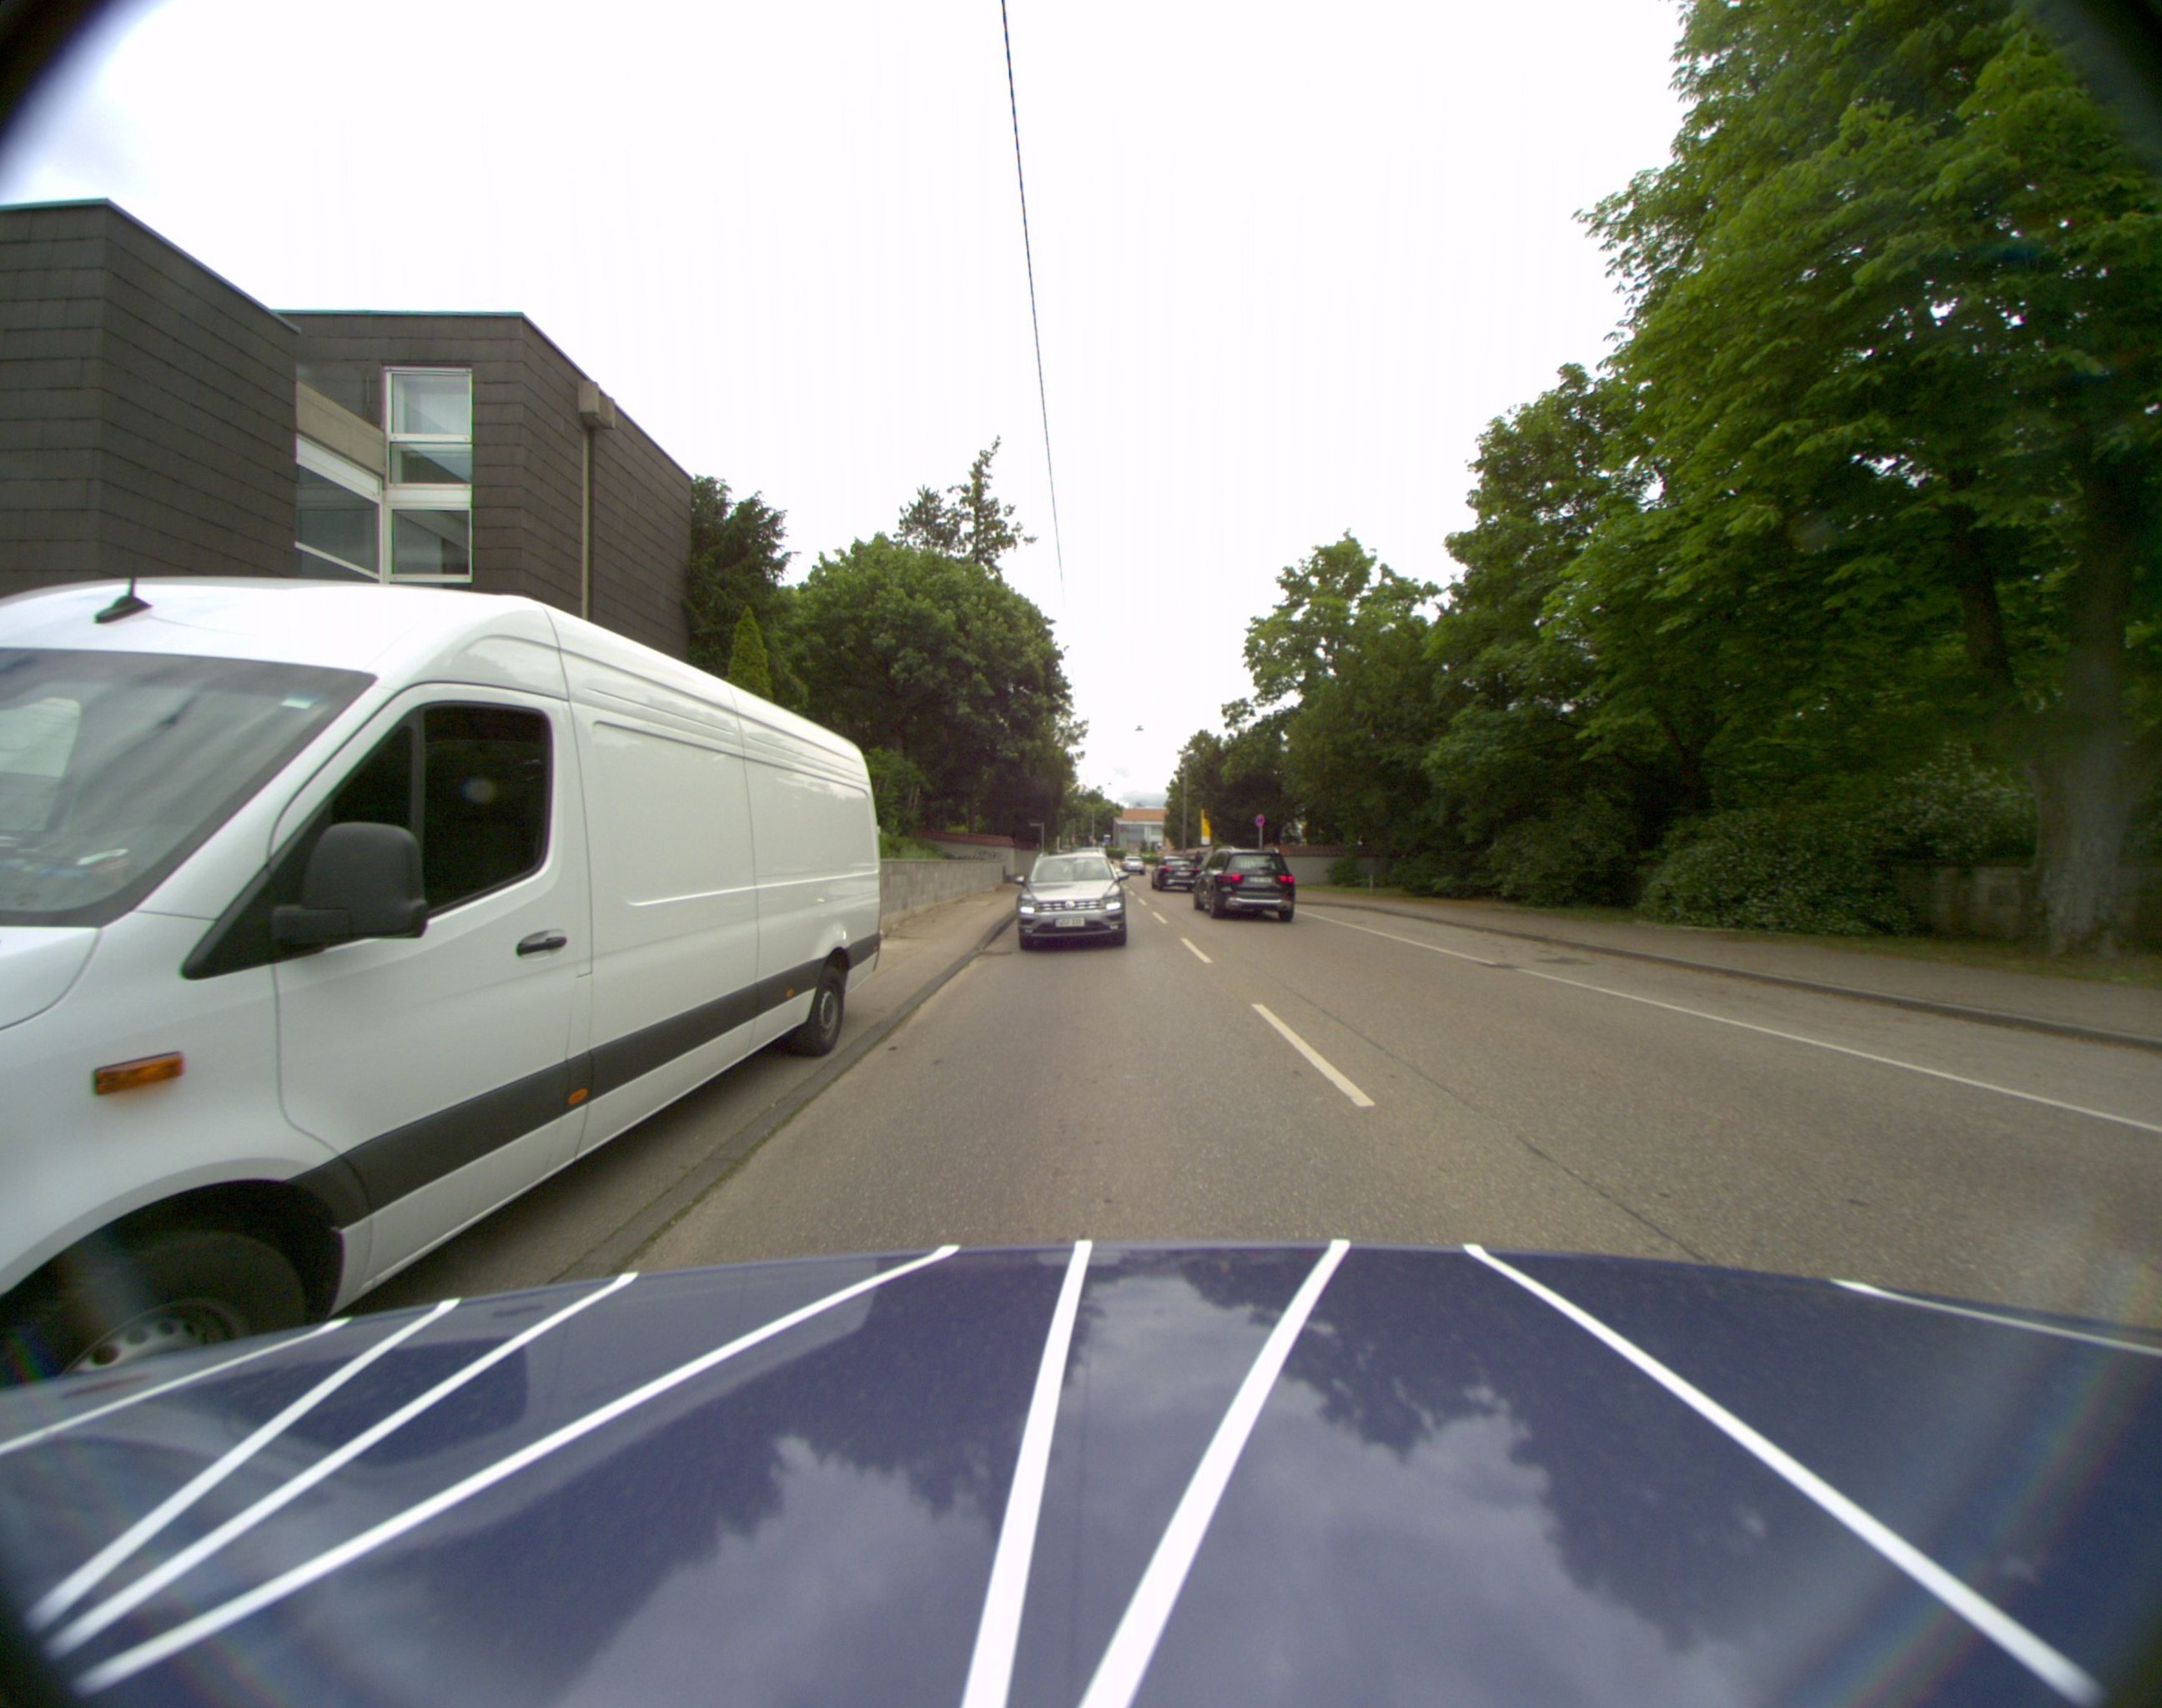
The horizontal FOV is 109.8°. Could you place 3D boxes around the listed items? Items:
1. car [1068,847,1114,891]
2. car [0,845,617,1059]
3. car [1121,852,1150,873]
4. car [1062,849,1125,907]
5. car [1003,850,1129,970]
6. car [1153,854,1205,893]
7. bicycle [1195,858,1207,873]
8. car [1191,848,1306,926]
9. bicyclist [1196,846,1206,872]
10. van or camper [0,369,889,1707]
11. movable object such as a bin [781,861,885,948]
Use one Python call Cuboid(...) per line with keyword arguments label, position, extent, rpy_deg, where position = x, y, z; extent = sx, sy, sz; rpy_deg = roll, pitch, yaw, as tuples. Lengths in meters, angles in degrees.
Cuboid(label="car", position=(0.407, 0.567, 32.376), extent=(1.820, 1.733, 4.487), rpy_deg=(-1, 1, 0))
Cuboid(label="car", position=(-6.917, 0.768, 6.895), extent=(4.392, 1.665, 1.695), rpy_deg=(0, 1, 1))
Cuboid(label="car", position=(4.111, 0.628, 58.308), extent=(1.761, 1.395, 4.413), rpy_deg=(2, 1, -1))
Cuboid(label="car", position=(0.389, 0.686, 24.596), extent=(1.820, 1.647, 4.487), rpy_deg=(-1, 1, 0))
Cuboid(label="car", position=(-0.214, 0.860, 14.067), extent=(1.820, 1.690, 4.718), rpy_deg=(-4, 1, 0))
Cuboid(label="car", position=(4.104, 0.760, 32.303), extent=(1.705, 1.475, 4.000), rpy_deg=(2, 1, 1))
Cuboid(label="bicycle", position=(7.963, 0.743, 50.455), extent=(0.496, 0.959, 1.748), rpy_deg=(-3, 1, 1))
Cuboid(label="car", position=(3.934, 0.696, 18.606), extent=(1.885, 1.635, 4.127), rpy_deg=(2, 1, 0))
Cuboid(label="bicyclist", position=(7.940, 0.327, 50.446), extent=(0.489, 1.674, 0.588), rpy_deg=(-3, 1, 0))
Cuboid(label="van or camper", position=(-2.908, 0.383, 3.906), extent=(1.996, 2.610, 6.543), rpy_deg=(2, 1, 1))
Cuboid(label="movable object such as a bin", position=(-4.293, 0.851, 13.259), extent=(1.407, 1.443, 1.116), rpy_deg=(0, 1, 1))
